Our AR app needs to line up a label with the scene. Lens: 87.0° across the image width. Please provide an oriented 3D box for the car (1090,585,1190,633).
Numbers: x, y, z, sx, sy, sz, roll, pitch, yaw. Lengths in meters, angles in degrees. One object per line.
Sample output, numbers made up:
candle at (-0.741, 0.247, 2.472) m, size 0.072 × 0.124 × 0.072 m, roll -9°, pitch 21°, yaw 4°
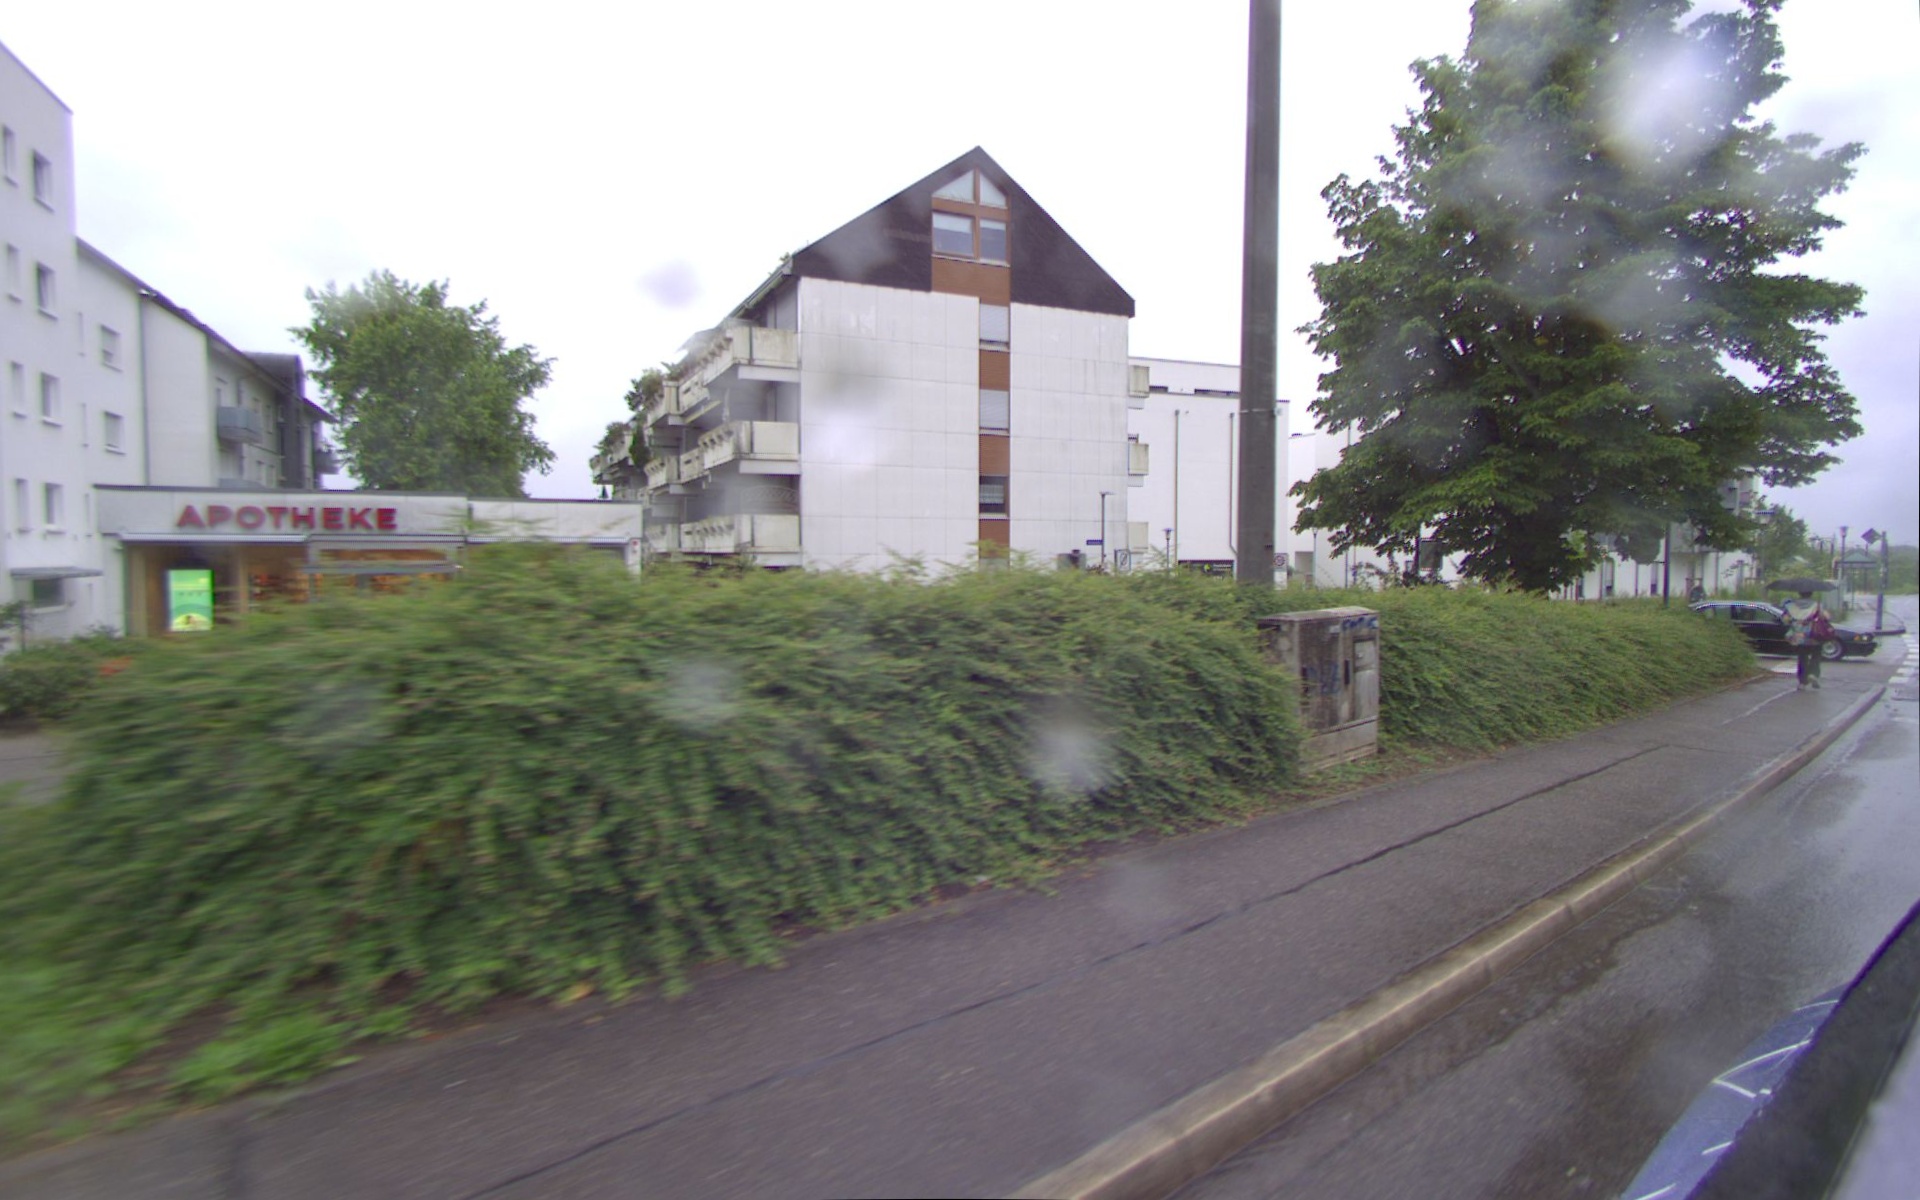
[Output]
car at (7.209, 0.316, 40.809) m, size 1.729 × 1.771 × 4.003 m, roll -2°, pitch 2°, yaw -32°

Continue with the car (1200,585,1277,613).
car at (15.737, -0.069, 57.186) m, size 3.917 × 1.440 × 1.827 m, roll -2°, pitch 0°, yaw -24°

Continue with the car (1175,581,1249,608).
car at (14.827, -0.310, 59.451) m, size 3.917 × 1.440 × 1.763 m, roll -2°, pitch 0°, yaw -24°

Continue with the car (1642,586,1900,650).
car at (20.141, 0.452, 25.334) m, size 1.777 × 1.432 × 4.803 m, roll -1°, pitch 0°, yaw -41°

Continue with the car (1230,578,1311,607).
car at (16.799, -0.392, 54.761) m, size 3.917 × 1.440 × 1.763 m, roll -2°, pitch 0°, yaw -24°

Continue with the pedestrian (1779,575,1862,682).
pedestrian at (13.066, 0.413, 15.367) m, size 0.858 × 1.544 × 0.770 m, roll 0°, pitch 3°, yaw -41°
